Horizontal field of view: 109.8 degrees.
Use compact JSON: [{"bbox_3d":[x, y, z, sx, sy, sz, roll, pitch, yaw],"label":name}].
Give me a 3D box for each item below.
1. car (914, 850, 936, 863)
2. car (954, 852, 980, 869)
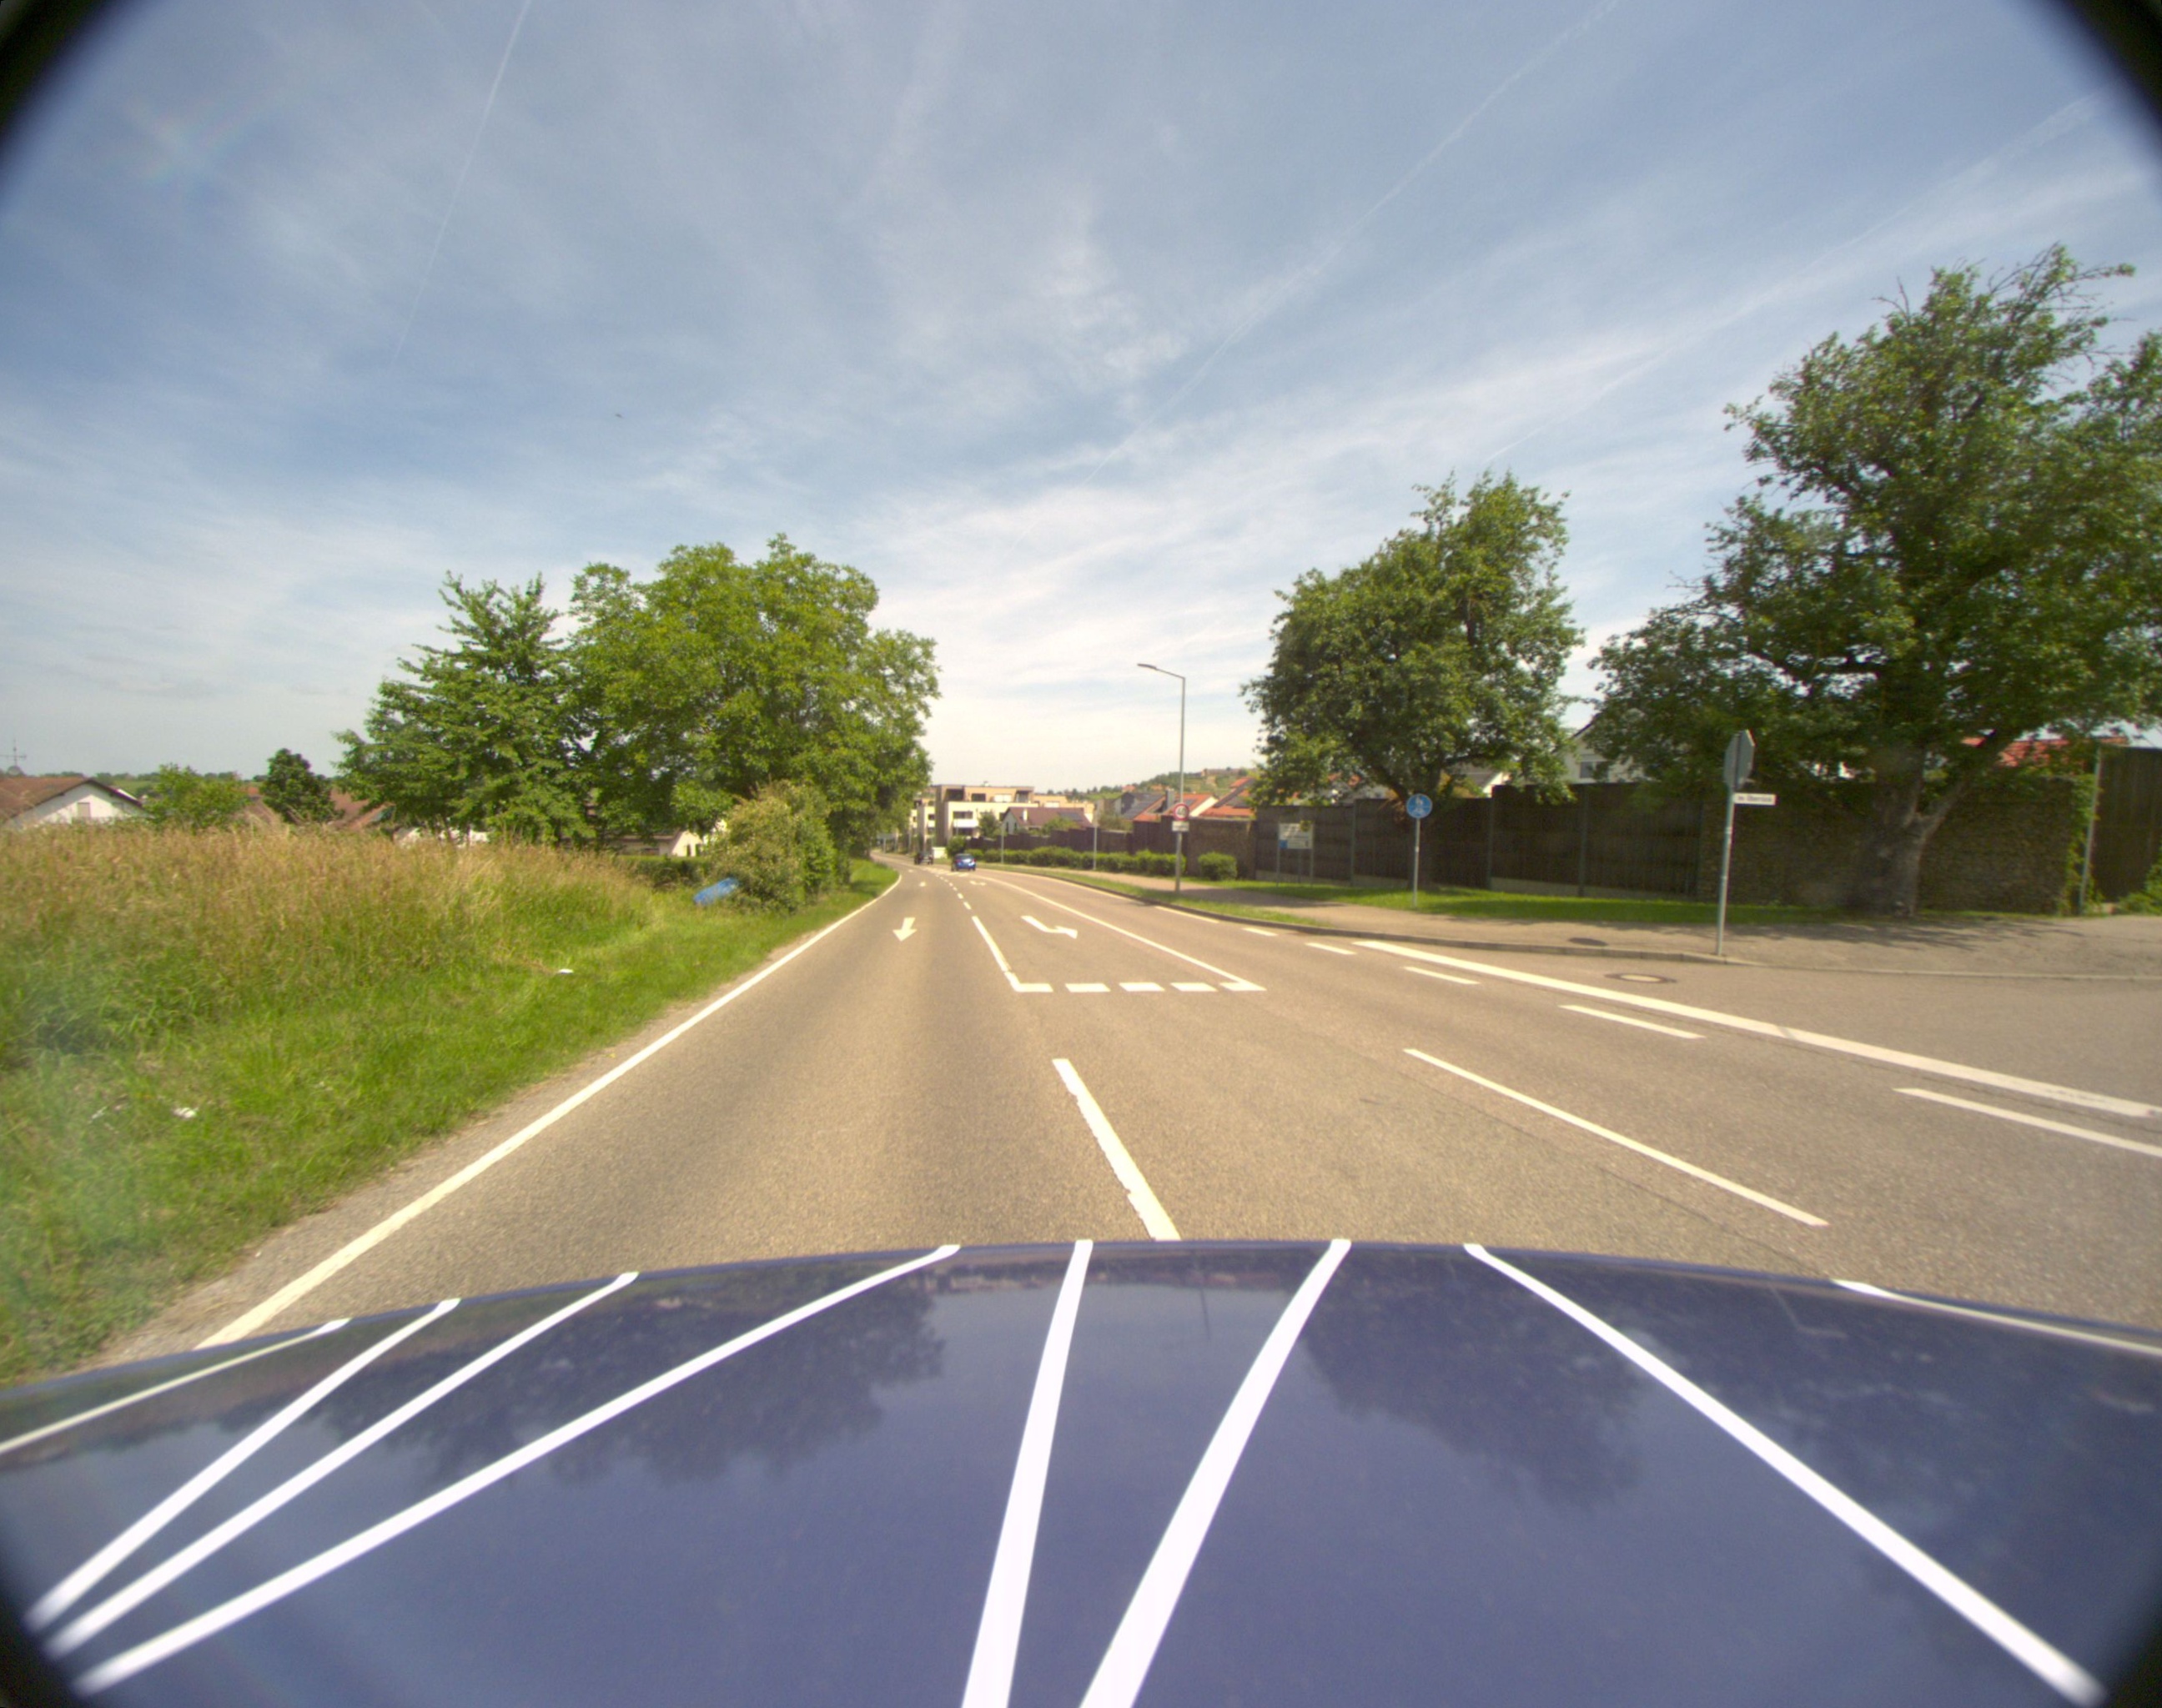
[{"bbox_3d":[-19.128,0.311,93.212,1.832,1.572,3.992,0,0,-24],"label":"car"},{"bbox_3d":[-10.041,0.552,66.703,1.615,1.483,3.843,0,0,-18],"label":"car"}]
